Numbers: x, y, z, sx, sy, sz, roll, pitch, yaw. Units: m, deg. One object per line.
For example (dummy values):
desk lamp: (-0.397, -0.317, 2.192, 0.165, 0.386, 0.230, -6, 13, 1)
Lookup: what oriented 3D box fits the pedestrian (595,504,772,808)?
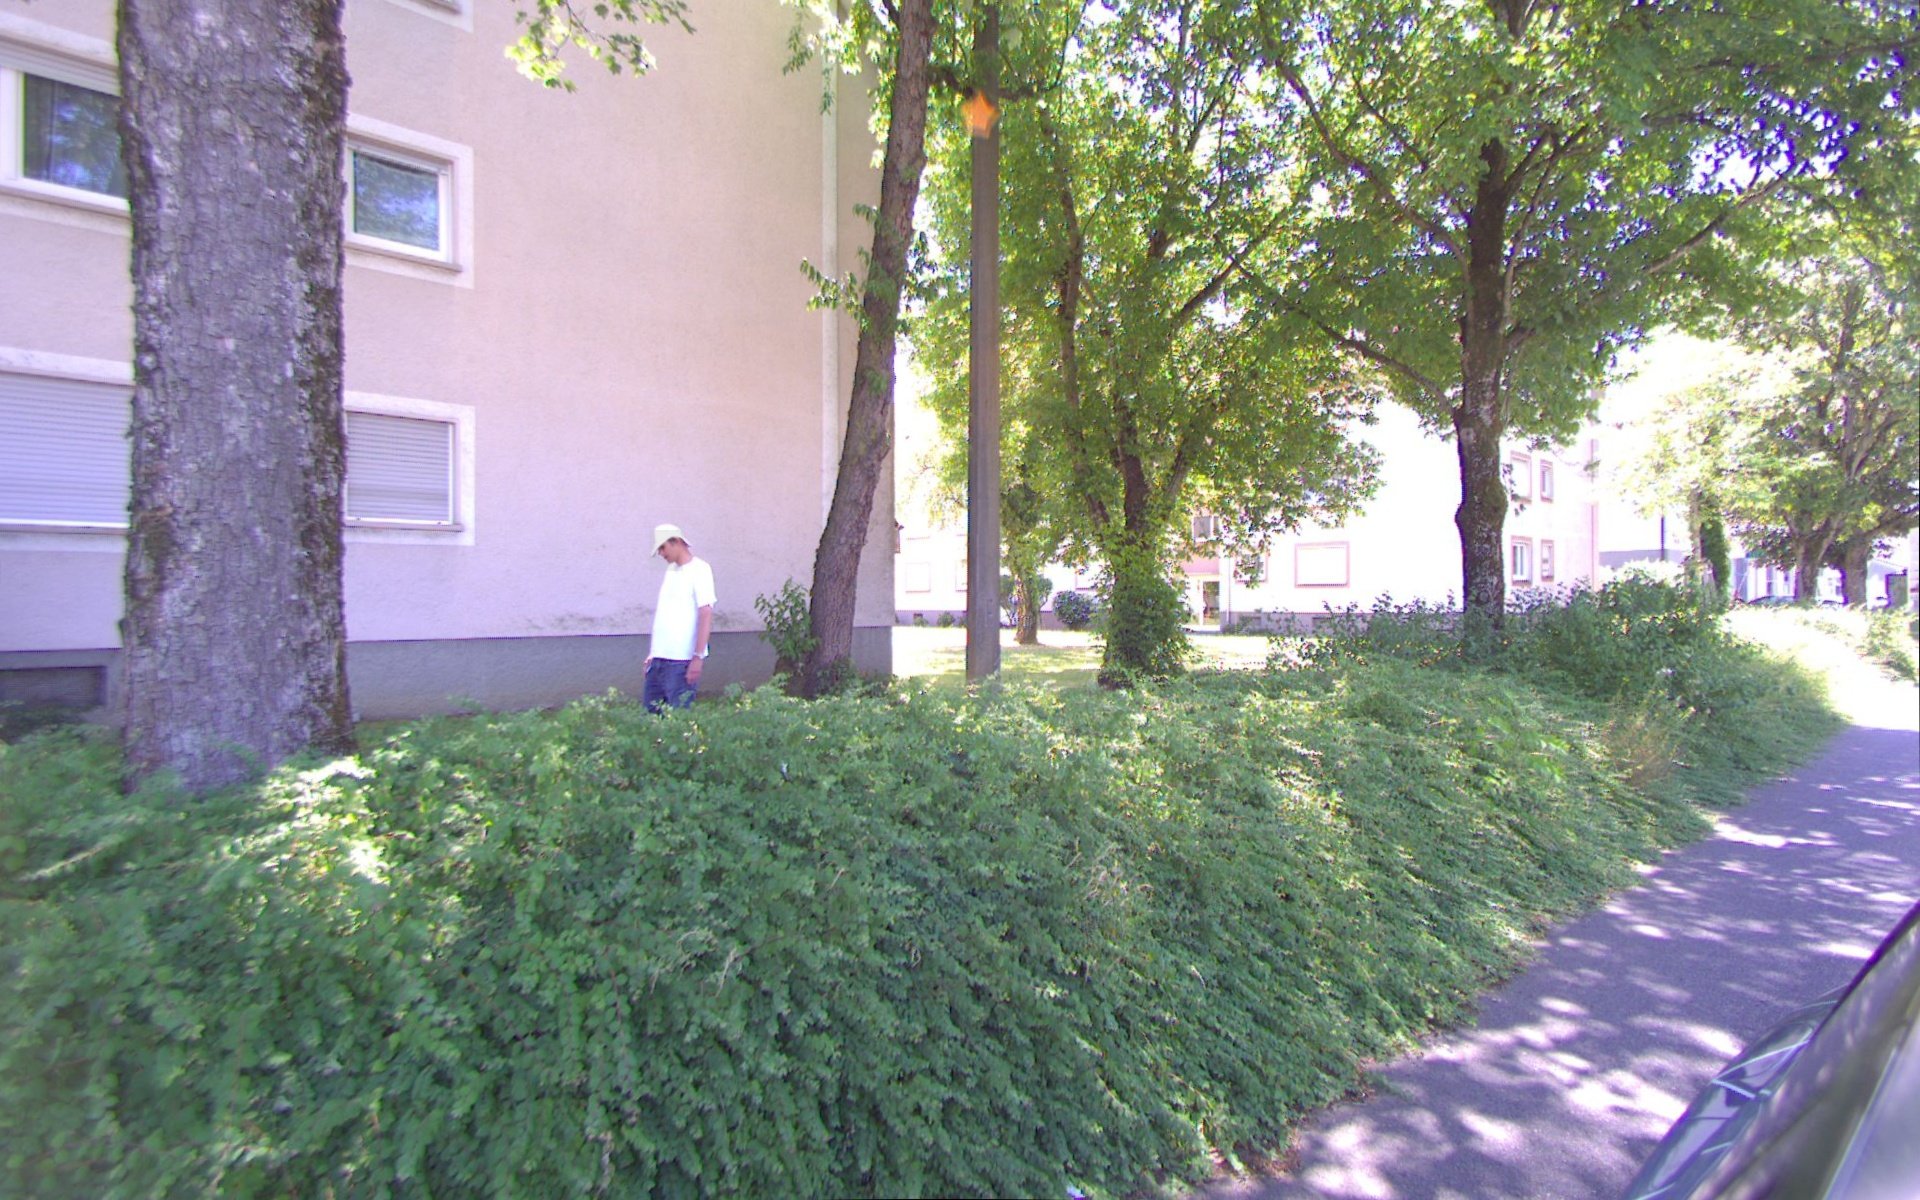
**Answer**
pedestrian: (-1.856, 0.356, 6.863, 0.668, 1.897, 0.894, -3, -1, 28)
